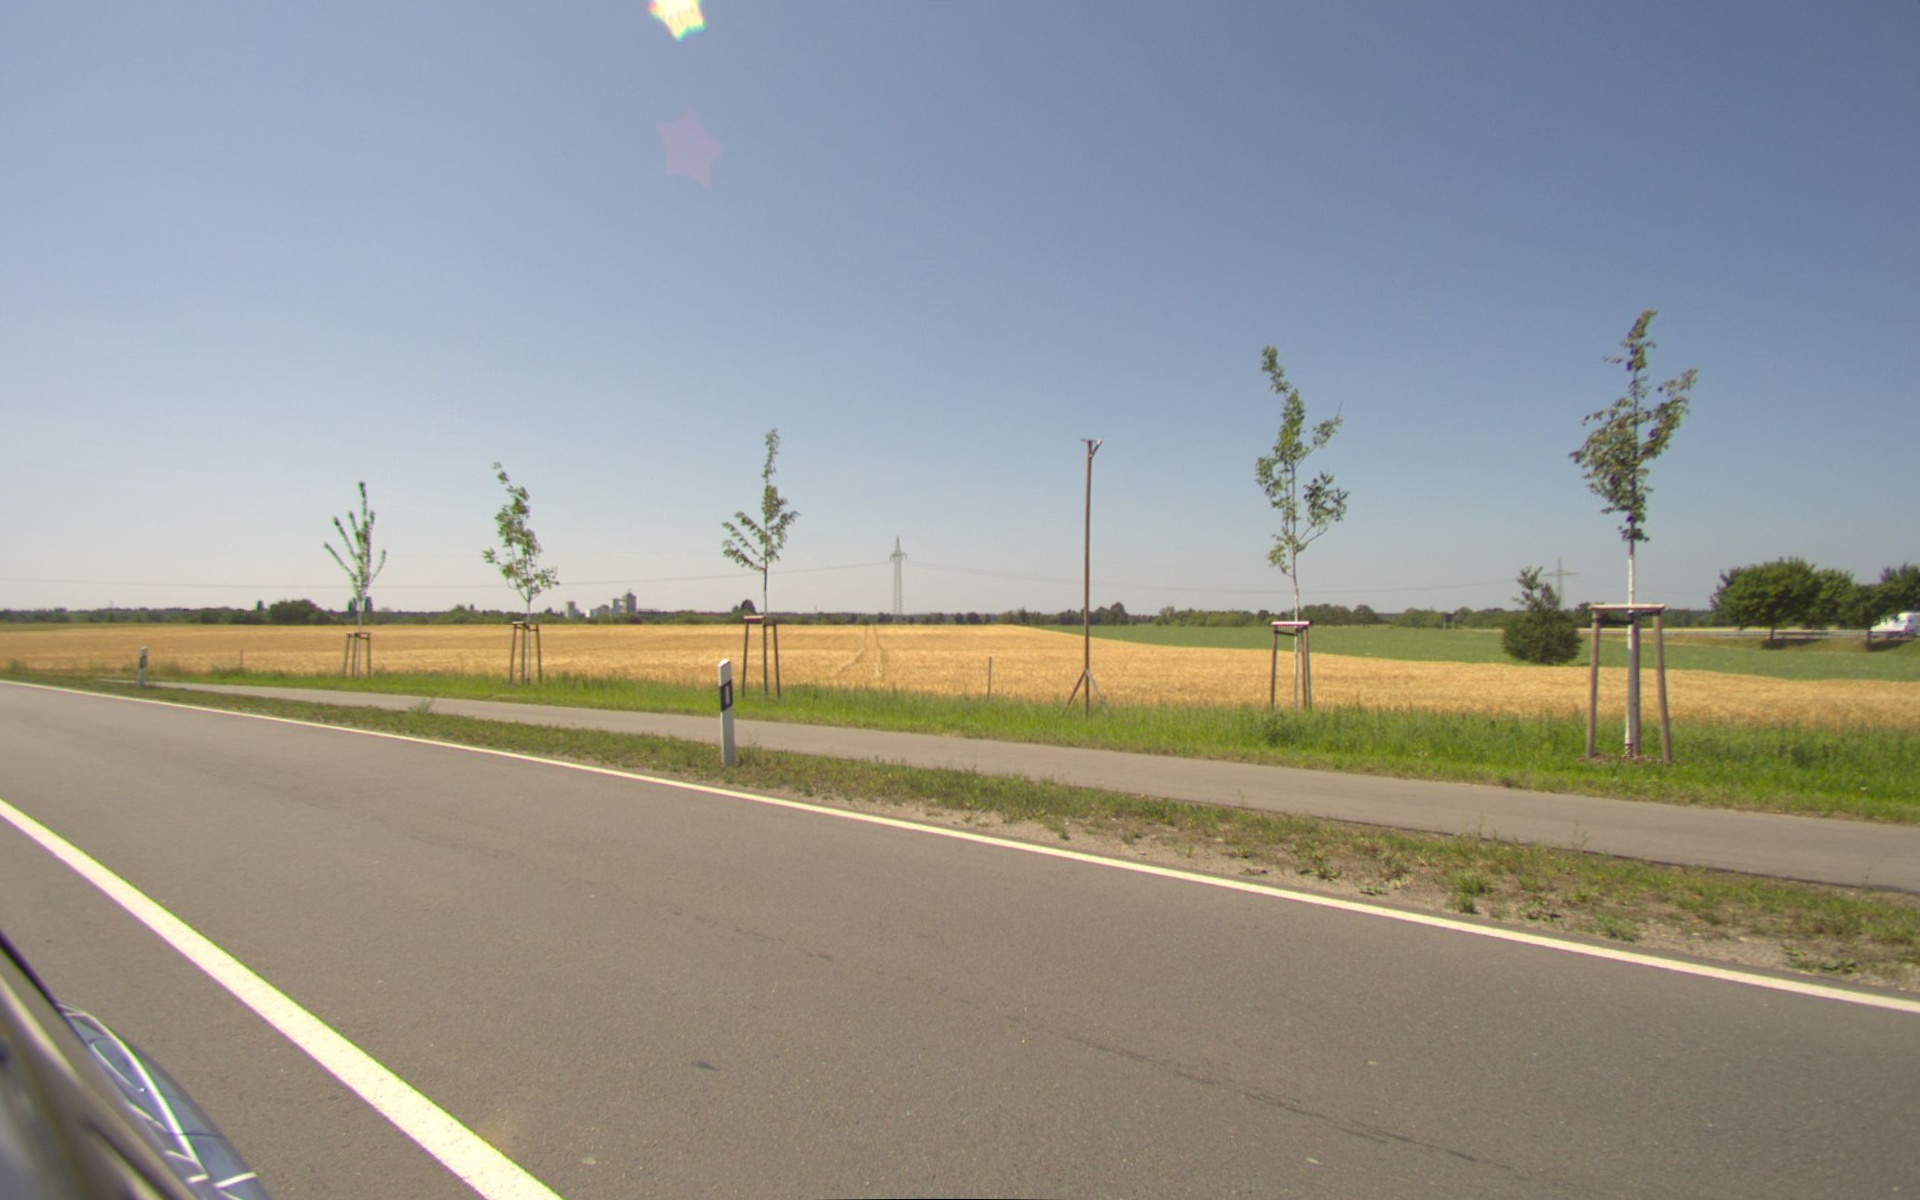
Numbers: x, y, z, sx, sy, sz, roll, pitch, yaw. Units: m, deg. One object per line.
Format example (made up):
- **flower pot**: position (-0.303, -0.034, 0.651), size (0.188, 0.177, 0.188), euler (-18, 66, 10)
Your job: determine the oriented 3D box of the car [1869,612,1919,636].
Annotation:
- **car**: position (99.752, 2.522, 107.219), size (2.223, 2.440, 5.917), euler (-1, -1, 10)
